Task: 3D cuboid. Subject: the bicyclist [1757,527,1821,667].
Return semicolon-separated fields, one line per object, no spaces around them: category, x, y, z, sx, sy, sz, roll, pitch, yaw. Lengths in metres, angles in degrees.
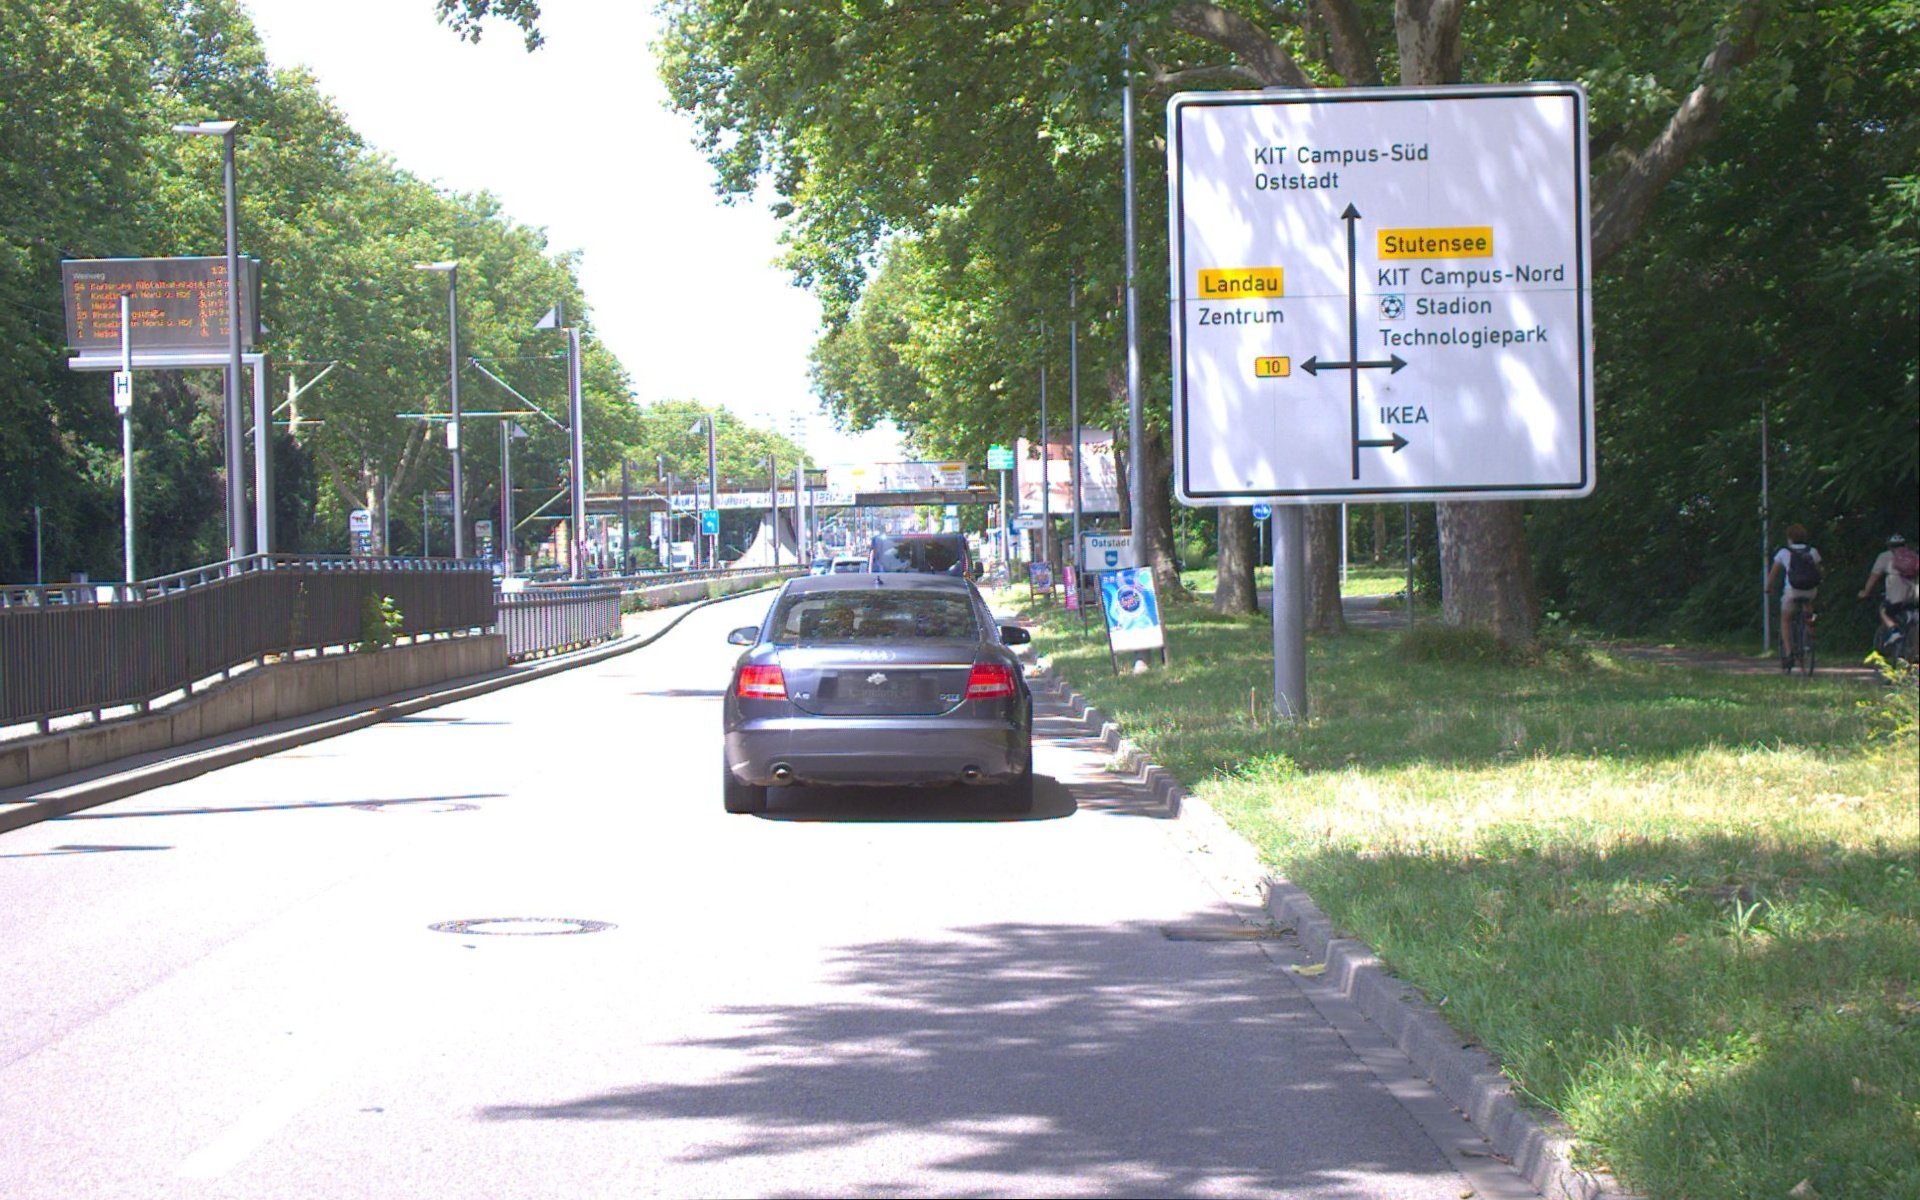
bicyclist;10.458;-0.044;43.365;0.597;1.740;0.843;0;1;0

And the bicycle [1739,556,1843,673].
bicycle;10.432;0.161;43.247;0.610;1.415;2.662;-1;1;-1

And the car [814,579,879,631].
car;-3.338;0.123;100.723;1.845;1.459;4.000;-1;1;-2

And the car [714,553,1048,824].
car;-0.567;0.540;21.266;1.842;1.479;4.000;1;-1;-4

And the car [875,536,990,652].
car;-0.444;-0.126;60.290;1.848;1.953;4.144;0;1;2

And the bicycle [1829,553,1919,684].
bicycle;10.489;0.181;38.827;0.610;1.415;2.662;-1;1;-1

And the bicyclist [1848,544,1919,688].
bicyclist;10.485;0.175;38.745;0.658;1.593;1.053;-1;0;0
